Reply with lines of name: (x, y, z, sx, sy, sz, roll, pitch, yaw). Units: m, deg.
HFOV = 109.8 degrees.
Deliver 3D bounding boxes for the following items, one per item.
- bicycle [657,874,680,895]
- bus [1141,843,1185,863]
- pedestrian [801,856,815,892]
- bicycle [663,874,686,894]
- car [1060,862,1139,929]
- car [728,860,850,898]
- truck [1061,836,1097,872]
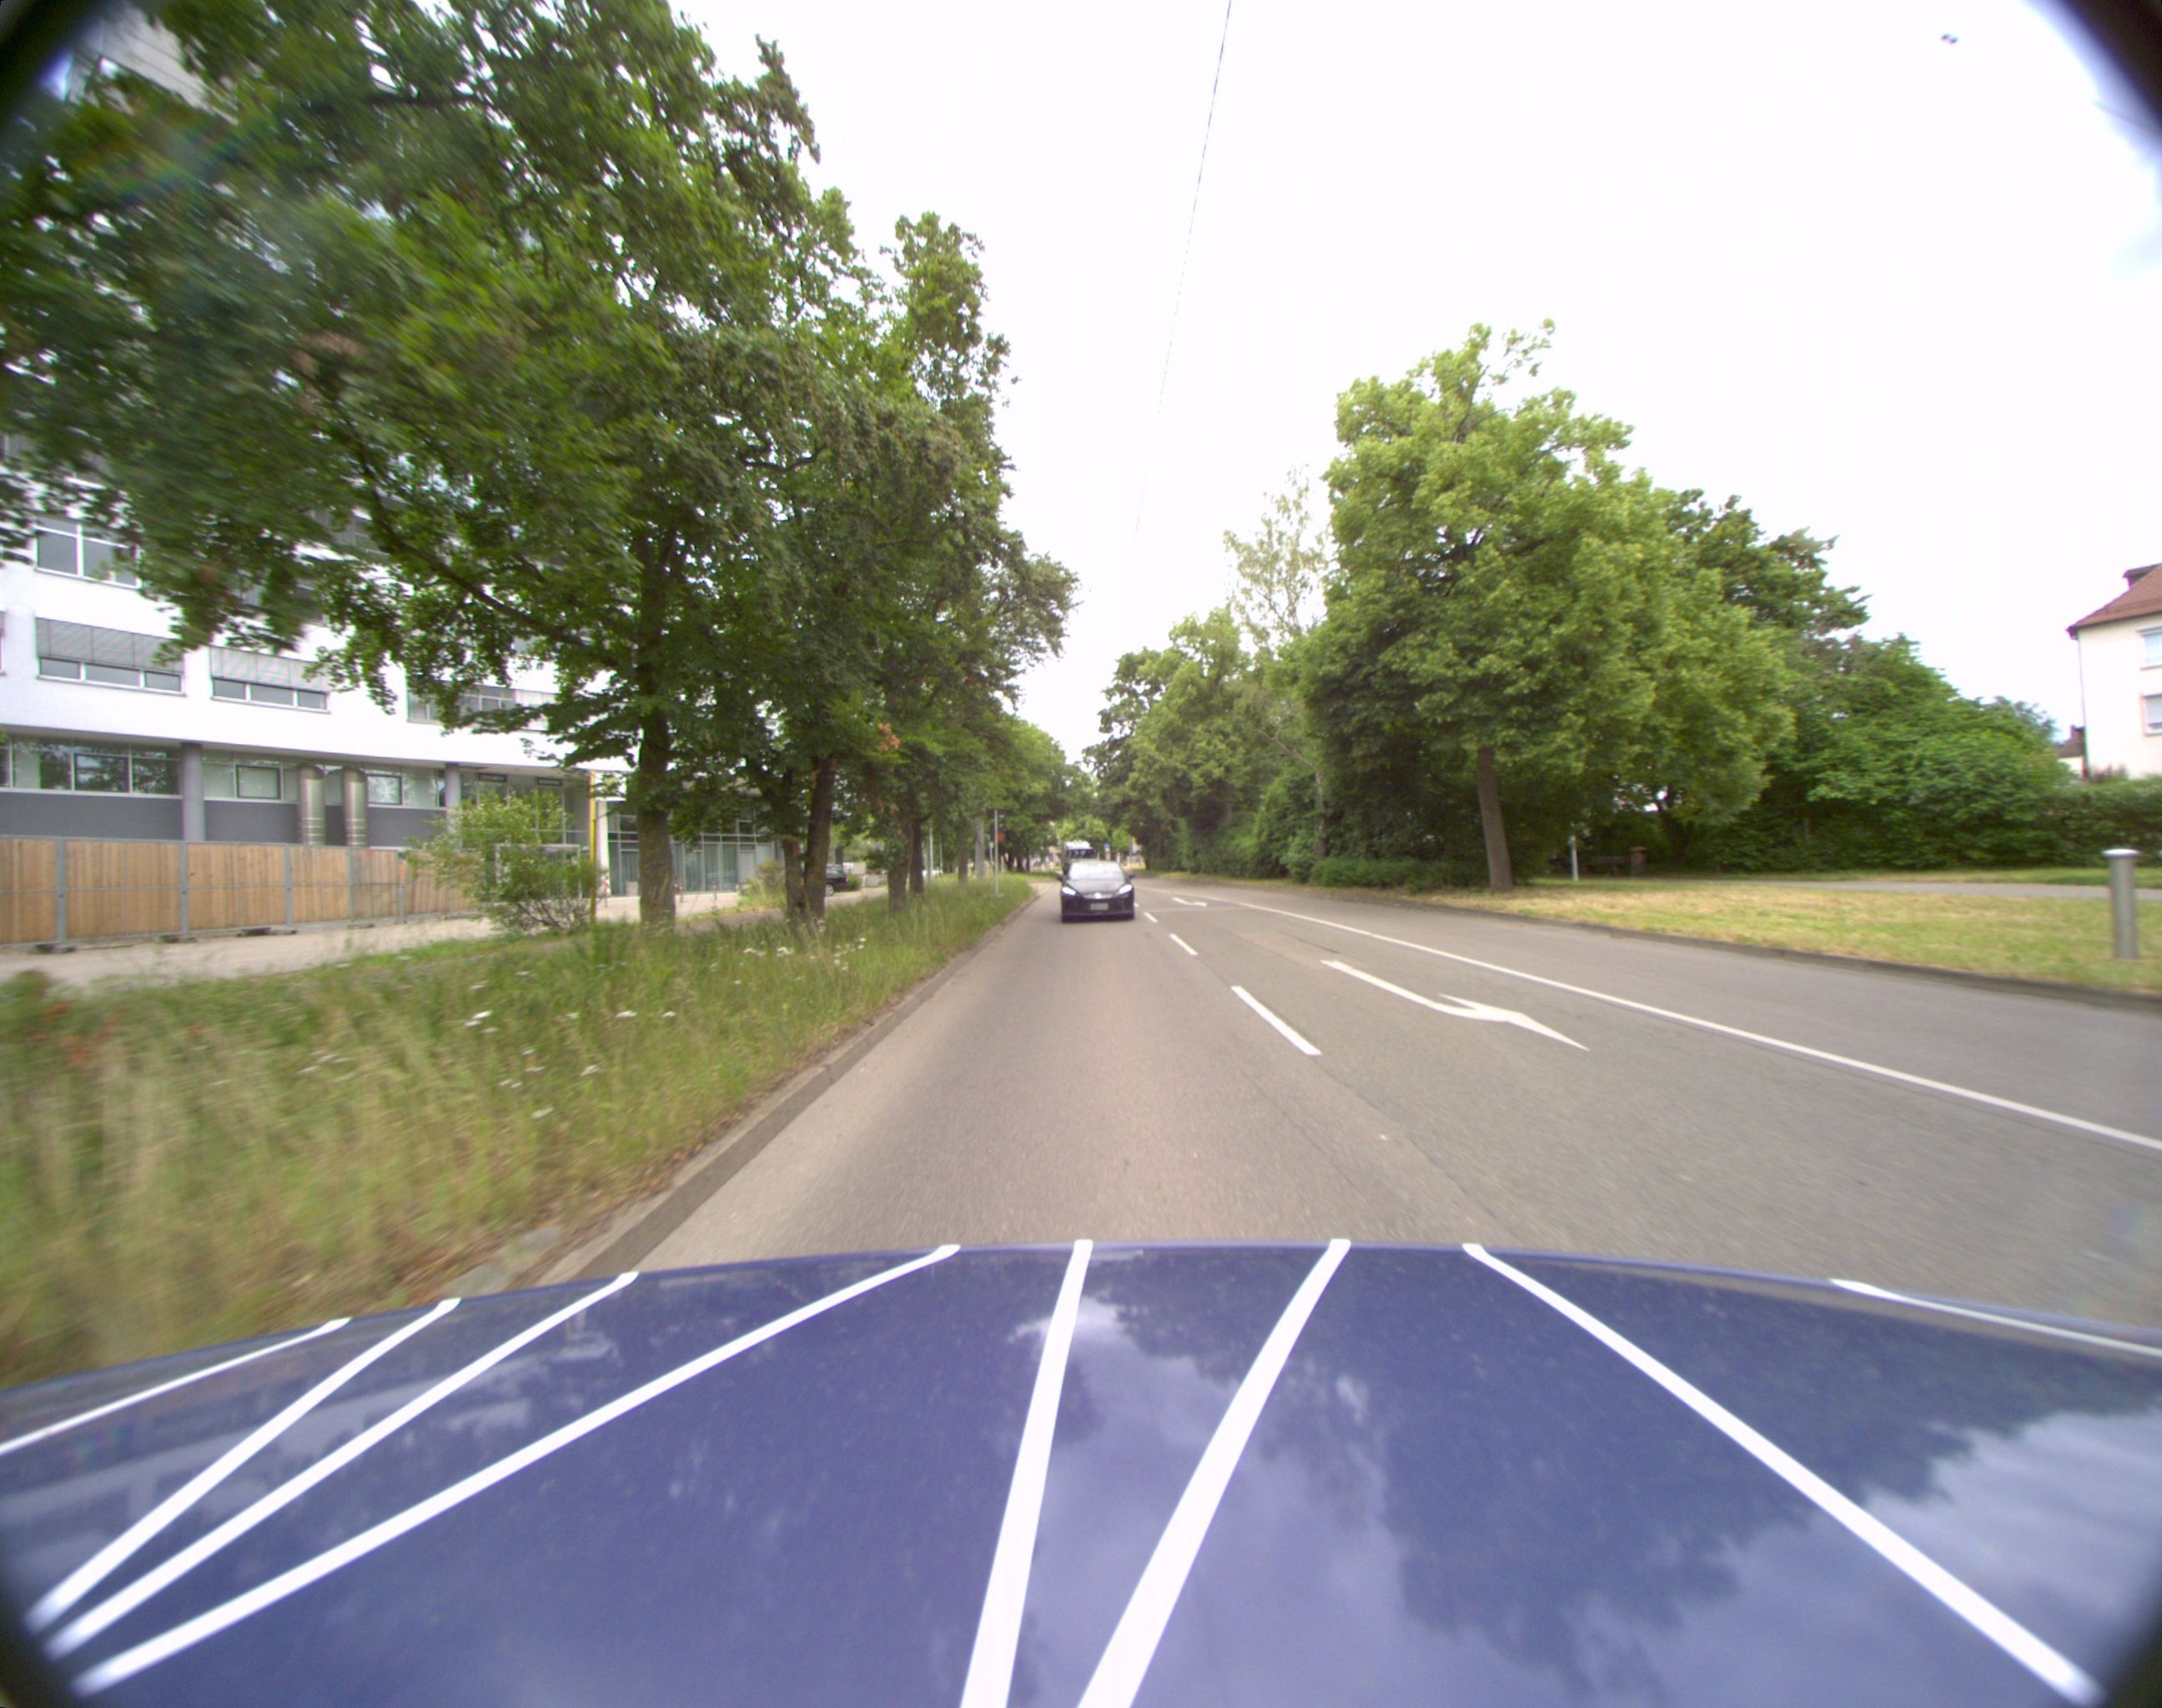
bicycle: (-23.153, 1.715, 42.644, 1.397, 1.066, 0.393, -3, 1, 29)
bus: (15.001, -0.189, 138.459, 3.046, 2.991, 8.445, -6, -1, 45)
pedestrian: (-12.959, 0.963, 36.046, 0.499, 1.714, 0.535, 1, -4, -30)
bicycle: (-23.159, 1.725, 43.276, 1.397, 1.066, 0.393, -3, 1, 29)
car: (0.371, 0.988, 19.741, 1.800, 1.475, 4.019, -1, 0, -2)
car: (-13.122, 1.087, 34.308, 4.752, 1.508, 1.866, -1, 0, -44)
truck: (-0.245, 0.013, 72.062, 2.437, 3.176, 6.462, -2, 0, -8)
